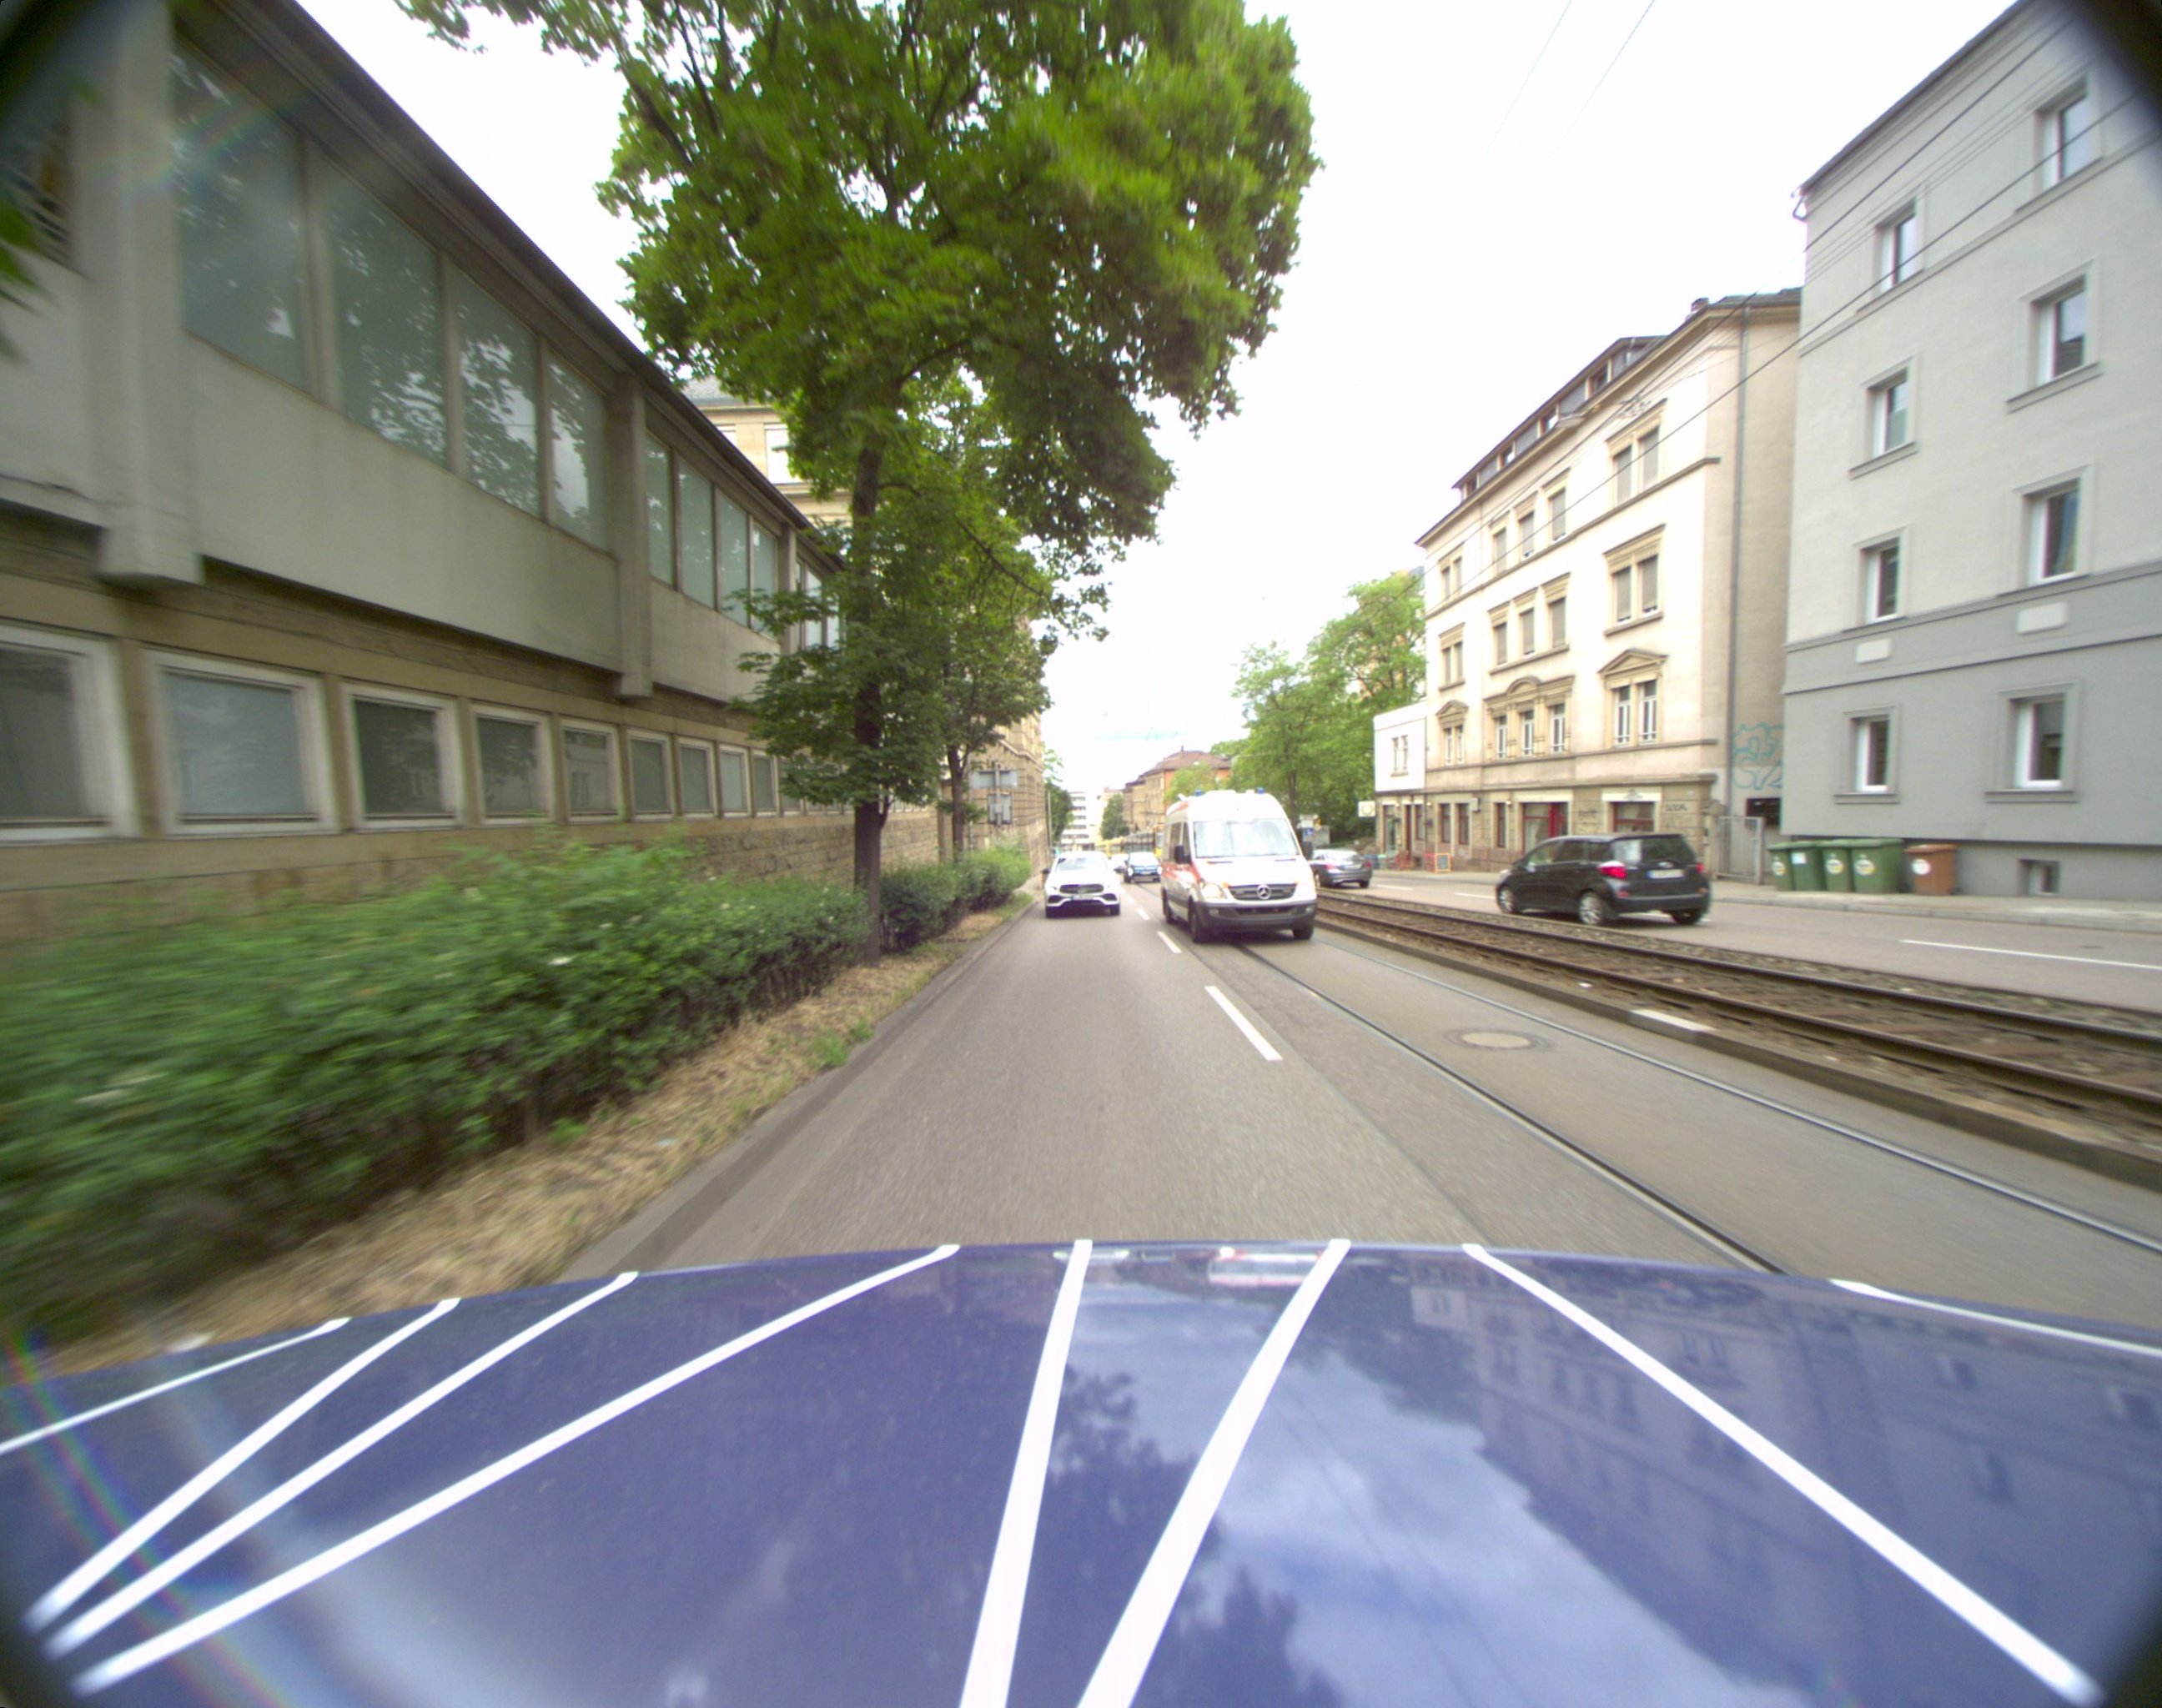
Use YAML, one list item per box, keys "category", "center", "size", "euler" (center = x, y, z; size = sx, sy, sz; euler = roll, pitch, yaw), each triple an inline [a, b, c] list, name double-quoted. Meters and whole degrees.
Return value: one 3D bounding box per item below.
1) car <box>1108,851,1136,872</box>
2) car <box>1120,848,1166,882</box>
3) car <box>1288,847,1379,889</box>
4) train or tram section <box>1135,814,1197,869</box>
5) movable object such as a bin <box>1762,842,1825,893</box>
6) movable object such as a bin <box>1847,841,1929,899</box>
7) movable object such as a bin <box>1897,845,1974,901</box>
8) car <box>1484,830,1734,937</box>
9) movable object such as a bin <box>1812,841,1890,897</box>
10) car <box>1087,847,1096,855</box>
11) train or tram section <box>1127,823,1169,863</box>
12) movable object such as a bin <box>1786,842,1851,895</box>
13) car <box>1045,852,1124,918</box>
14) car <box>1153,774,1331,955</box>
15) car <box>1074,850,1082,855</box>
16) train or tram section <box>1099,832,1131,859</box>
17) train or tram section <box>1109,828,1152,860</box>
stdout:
- category: "car"
  center: [3.313, 0.590, 61.962]
  size: [1.999, 1.543, 4.316]
  euler: [-2, 1, 0]
- category: "car"
  center: [3.170, 0.556, 39.564]
  size: [1.931, 1.563, 4.180]
  euler: [-4, 0, 0]
- category: "car"
  center: [9.195, 0.464, 28.125]
  size: [1.816, 1.353, 4.764]
  euler: [-2, 0, 1]
- category: "train or tram section"
  center: [6.635, -0.929, 62.638]
  size: [2.883, 3.704, 18.754]
  euler: [-3, 0, 0]
- category: "movable object such as a bin"
  center: [15.499, 0.283, 16.547]
  size: [0.730, 1.067, 0.671]
  euler: [-2, 1, 1]
- category: "movable object such as a bin"
  center: [15.466, 0.294, 14.581]
  size: [0.827, 1.067, 0.676]
  euler: [-2, 1, 1]
- category: "movable object such as a bin"
  center: [15.539, 0.336, 13.831]
  size: [0.624, 0.979, 0.676]
  euler: [-2, 1, 1]
- category: "car"
  center: [9.176, 0.444, 13.674]
  size: [1.747, 1.587, 3.969]
  euler: [-2, 0, 1]
- category: "movable object such as a bin"
  center: [15.465, 0.289, 15.279]
  size: [0.827, 1.067, 0.697]
  euler: [-2, 1, 1]
- category: "car"
  center: [2.898, -0.807, 211.421]
  size: [1.872, 2.250, 4.747]
  euler: [-3, 1, -4]
- category: "train or tram section"
  center: [6.909, -1.080, 81.292]
  size: [2.883, 3.704, 18.755]
  euler: [-3, 0, 1]
- category: "movable object such as a bin"
  center: [15.416, 0.289, 15.894]
  size: [0.744, 1.067, 0.606]
  euler: [-2, 1, 1]
- category: "car"
  center: [0.216, 0.792, 21.697]
  size: [1.894, 1.610, 4.479]
  euler: [-2, 0, 4]
- category: "car"
  center: [2.725, 0.163, 14.494]
  size: [2.039, 2.684, 5.854]
  euler: [-2, 0, 0]
- category: "car"
  center: [-0.790, -0.429, 215.194]
  size: [1.999, 1.575, 3.998]
  euler: [-1, 0, -4]
- category: "train or tram section"
  center: [5.048, -1.208, 116.749]
  size: [2.891, 3.704, 14.849]
  euler: [-3, 0, -4]
- category: "train or tram section"
  center: [6.252, -1.180, 100.020]
  size: [2.884, 3.704, 18.695]
  euler: [-3, 0, -4]
